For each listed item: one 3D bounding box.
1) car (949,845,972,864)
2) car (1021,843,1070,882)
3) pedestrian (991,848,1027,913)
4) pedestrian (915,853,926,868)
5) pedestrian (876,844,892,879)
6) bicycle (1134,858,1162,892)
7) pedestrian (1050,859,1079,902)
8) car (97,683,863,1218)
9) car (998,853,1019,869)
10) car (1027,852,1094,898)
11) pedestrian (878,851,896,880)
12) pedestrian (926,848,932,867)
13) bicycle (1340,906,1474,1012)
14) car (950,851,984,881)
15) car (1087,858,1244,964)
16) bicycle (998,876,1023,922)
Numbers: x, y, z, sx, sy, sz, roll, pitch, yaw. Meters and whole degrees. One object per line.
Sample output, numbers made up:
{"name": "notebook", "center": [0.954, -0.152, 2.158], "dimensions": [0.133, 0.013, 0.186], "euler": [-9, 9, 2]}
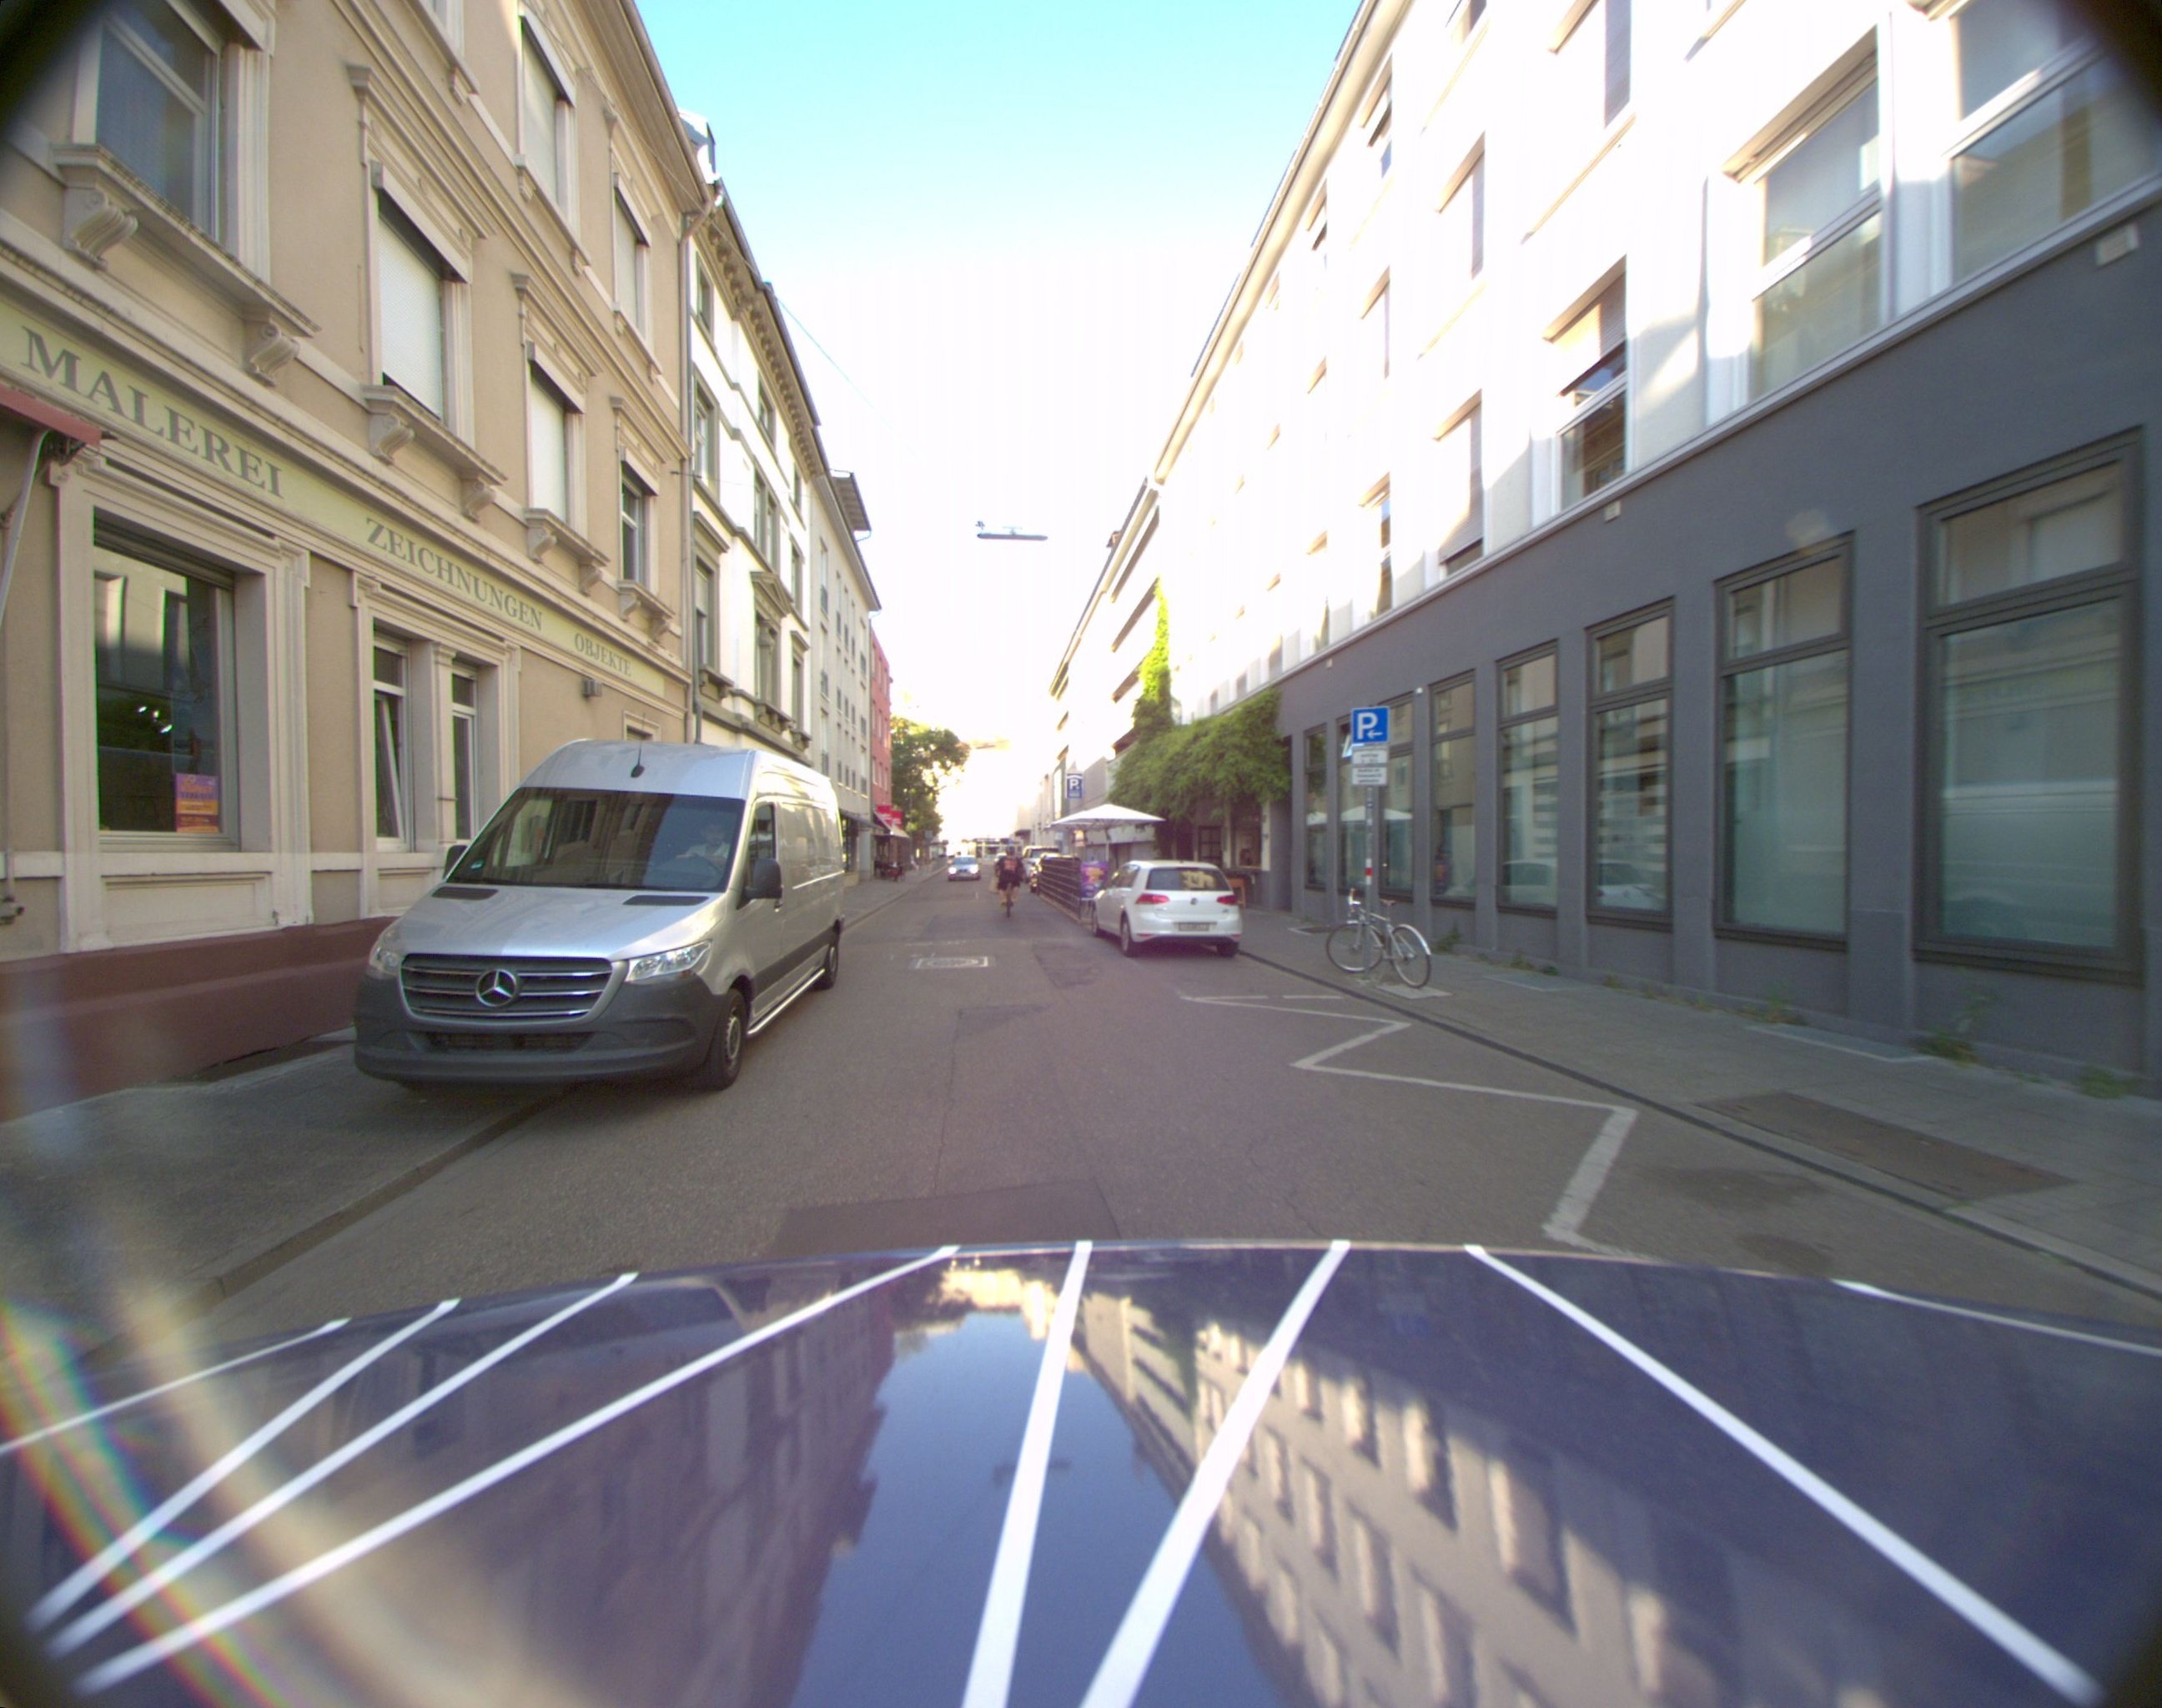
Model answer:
{"name": "car", "center": [-12.907, 0.027, 81.701], "dimensions": [1.999, 2.002, 3.998], "euler": [0, 1, -3]}
{"name": "car", "center": [-1.982, 0.410, 40.575], "dimensions": [2.000, 1.928, 4.846], "euler": [1, 0, -10]}
{"name": "pedestrian", "center": [-1.801, 0.633, 18.823], "dimensions": [0.832, 1.536, 1.082], "euler": [-1, 1, -7]}
{"name": "pedestrian", "center": [-14.108, 0.566, 66.948], "dimensions": [0.929, 1.242, 0.362], "euler": [1, 1, -11]}
{"name": "pedestrian", "center": [-10.210, 0.376, 39.398], "dimensions": [0.660, 1.782, 0.729], "euler": [3, 1, -20]}
{"name": "bicycle", "center": [2.399, 0.733, 27.566], "dimensions": [0.645, 1.153, 1.793], "euler": [-1, 1, -7]}
{"name": "pedestrian", "center": [-0.520, 0.805, 23.267], "dimensions": [0.783, 1.279, 0.915], "euler": [0, 1, -8]}
{"name": "car", "center": [-3.625, 0.408, 6.648], "dimensions": [2.284, 2.425, 6.199], "euler": [-1, 1, -7]}
{"name": "car", "center": [-7.372, 0.661, 77.294], "dimensions": [1.999, 1.409, 4.555], "euler": [1, 1, -5]}
{"name": "car", "center": [-0.895, 0.734, 29.270], "dimensions": [1.887, 1.559, 4.766], "euler": [2, 0, -10]}
{"name": "pedestrian", "center": [-10.229, 0.596, 40.124], "dimensions": [0.828, 1.477, 0.660], "euler": [0, 1, -9]}
{"name": "pedestrian", "center": [-13.465, 0.335, 67.219], "dimensions": [0.438, 1.637, 0.557], "euler": [1, 1, -1]}
{"name": "bicycle", "center": [3.476, 1.087, 8.270], "dimensions": [0.598, 0.900, 1.643], "euler": [-1, 1, -7]}
{"name": "car", "center": [-6.529, 0.652, 43.520], "dimensions": [1.790, 1.516, 3.996], "euler": [-2, 1, -9]}
{"name": "car", "center": [1.233, 0.822, 12.732], "dimensions": [1.663, 1.406, 3.878], "euler": [0, 1, -9]}
{"name": "bicycle", "center": [-1.745, 1.074, 18.723], "dimensions": [0.539, 1.002, 1.979], "euler": [-1, 1, -7]}
